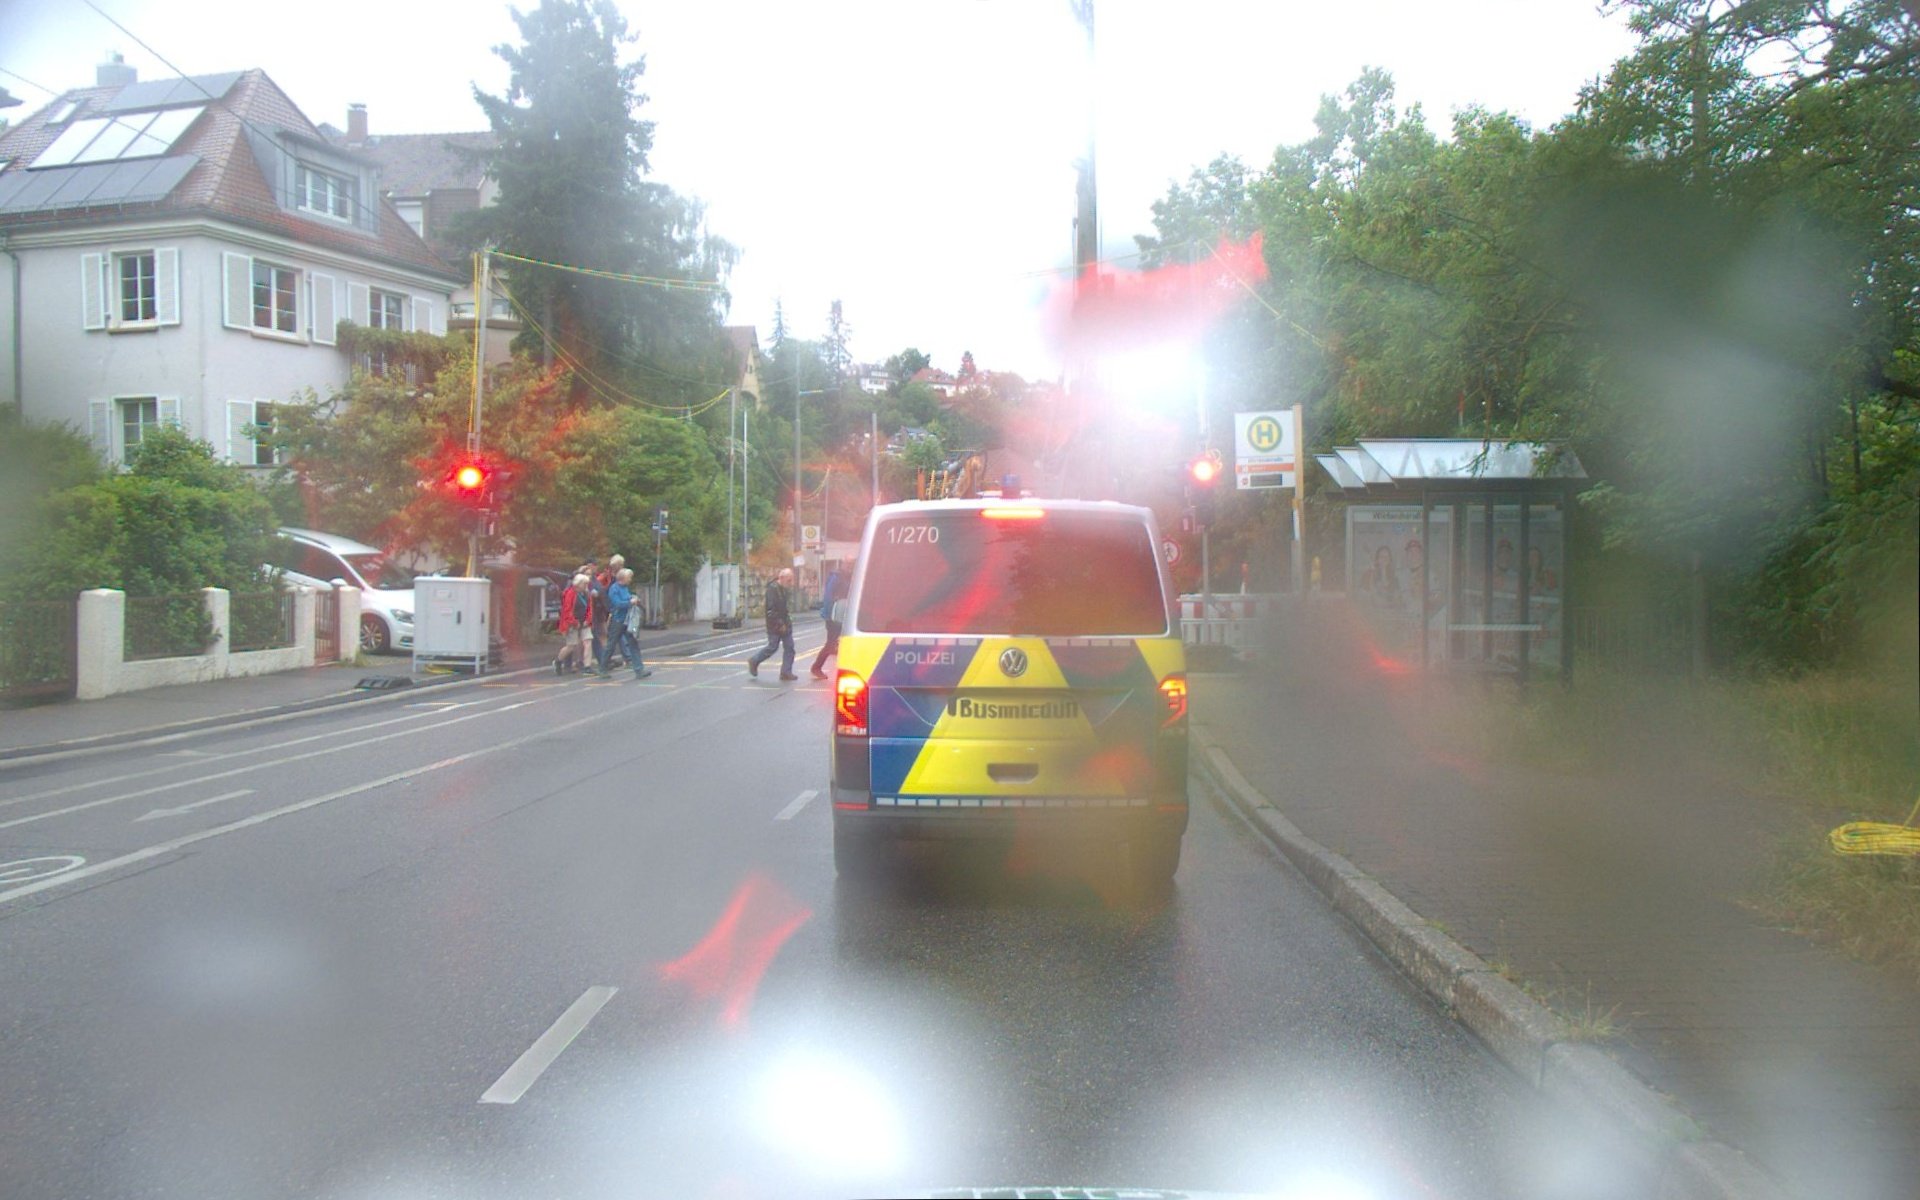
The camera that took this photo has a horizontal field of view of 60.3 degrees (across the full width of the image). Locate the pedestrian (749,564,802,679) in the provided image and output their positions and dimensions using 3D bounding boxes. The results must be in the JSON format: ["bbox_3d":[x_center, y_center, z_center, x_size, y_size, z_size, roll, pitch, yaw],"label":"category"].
[{"bbox_3d":[-2.668,0.314,23.999,0.672,1.632,0.605,2,-2,-2],"label":"pedestrian"}]

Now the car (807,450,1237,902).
[{"bbox_3d":[0.303,0.329,9.827,1.952,2.049,4.402,1,1,0],"label":"car"}]

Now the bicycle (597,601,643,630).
[{"bbox_3d":[-8.385,0.389,40.808,1.031,0.674,0.320,1,-2,10],"label":"bicycle"}]

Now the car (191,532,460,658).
[{"bbox_3d":[-10.804,-0.098,28.277,3.902,2.049,1.832,1,0,11],"label":"car"}]

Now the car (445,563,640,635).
[{"bbox_3d":[-9.539,-0.015,37.888,3.902,1.512,1.761,1,-2,10],"label":"car"}]

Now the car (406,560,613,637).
[{"bbox_3d":[-9.698,-0.026,35.737,3.902,1.512,1.761,1,-2,10],"label":"car"}]

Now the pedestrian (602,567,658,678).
[{"bbox_3d":[-4.704,0.324,23.625,0.613,1.548,0.593,2,-2,1],"label":"pedestrian"}]

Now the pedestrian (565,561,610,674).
[{"bbox_3d":[-5.694,0.266,25.286,0.537,1.697,0.414,2,-2,1],"label":"pedestrian"}]

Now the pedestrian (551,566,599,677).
[{"bbox_3d":[-5.698,0.319,24.499,0.551,1.610,0.468,2,-2,1],"label":"pedestrian"}]

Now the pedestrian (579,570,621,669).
[{"bbox_3d":[-5.671,0.316,26.055,0.514,1.533,0.429,2,-2,1],"label":"pedestrian"}]

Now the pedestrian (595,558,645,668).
[{"bbox_3d":[-5.491,0.209,26.707,0.613,1.745,0.593,2,-2,1],"label":"pedestrian"}]

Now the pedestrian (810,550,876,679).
[{"bbox_3d":[-1.692,0.213,24.068,0.872,1.819,0.828,2,-2,-2],"label":"pedestrian"}]
